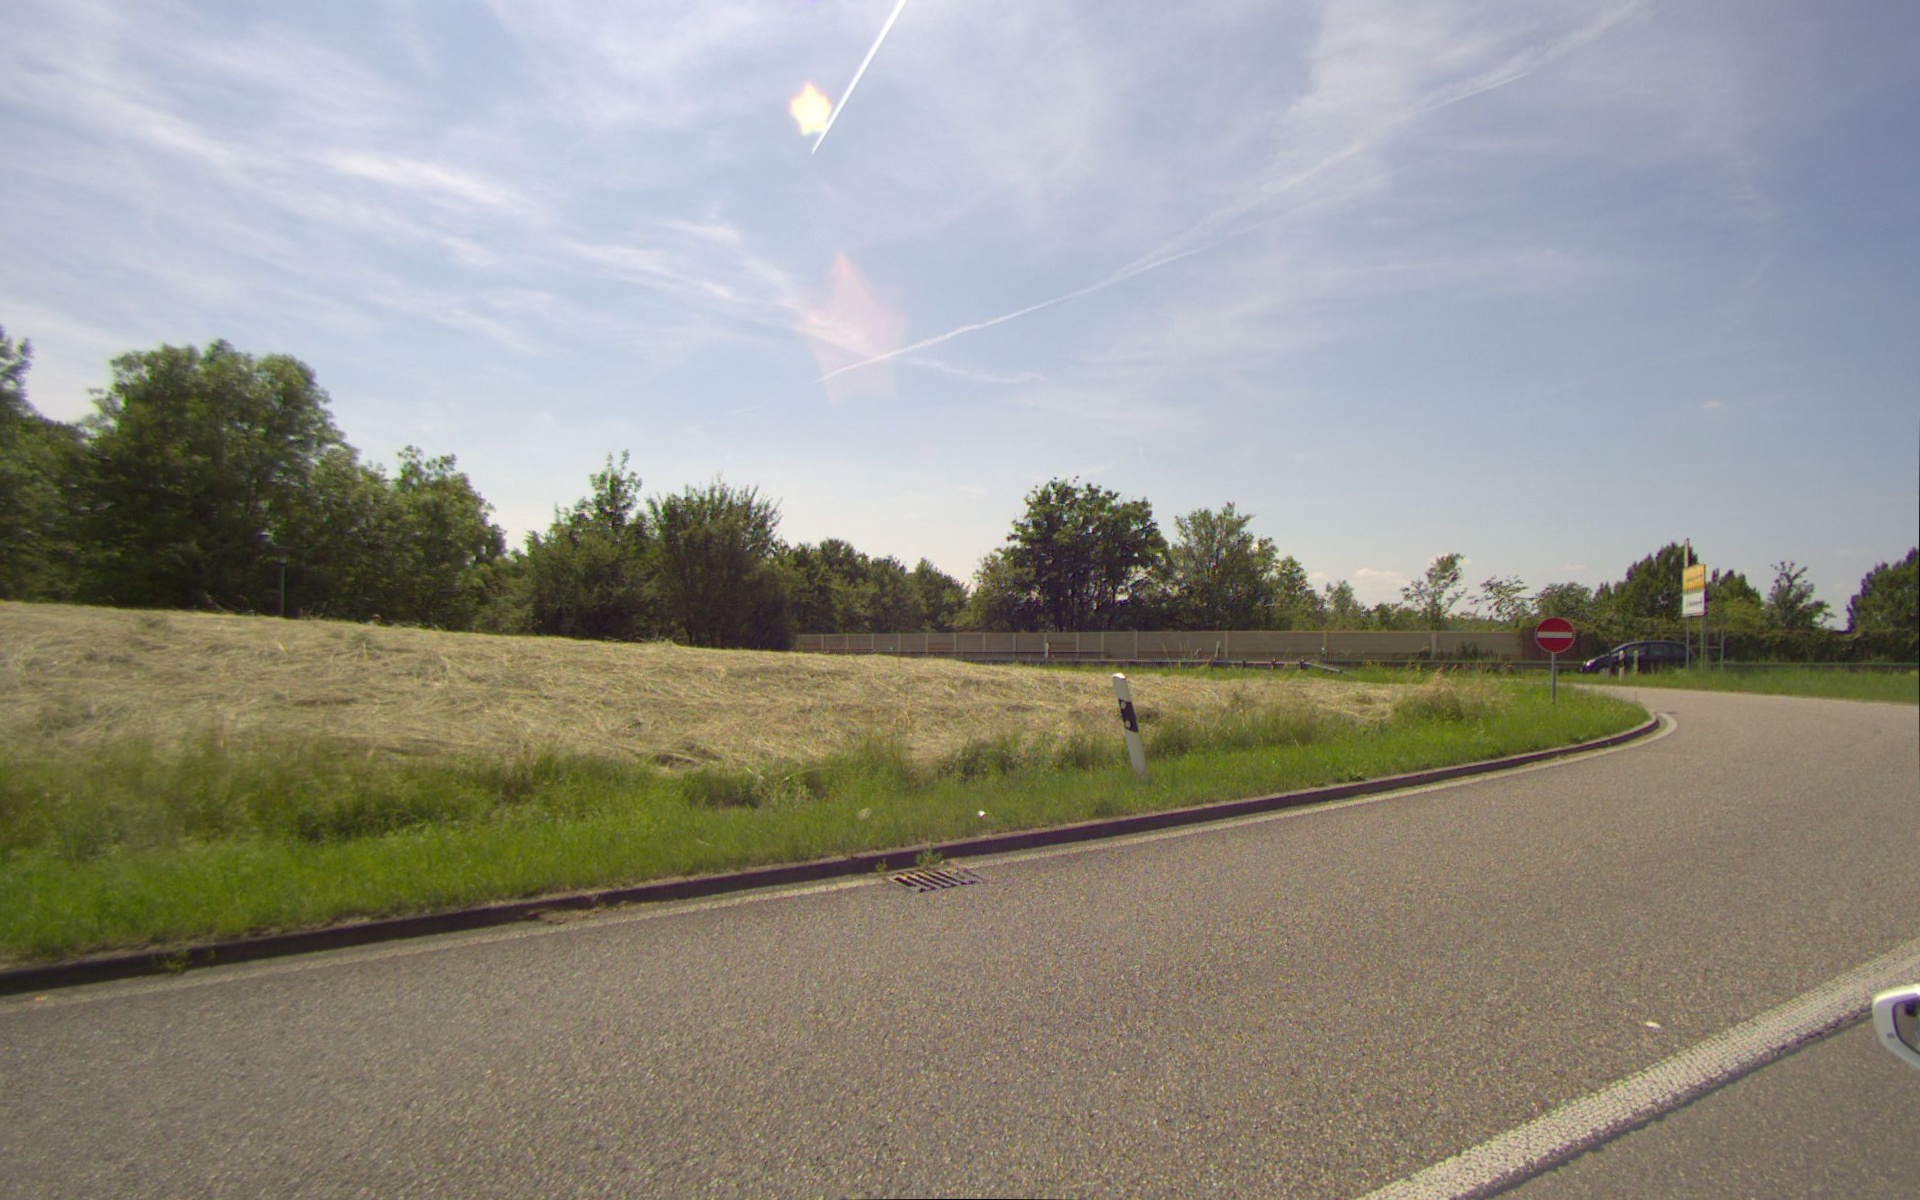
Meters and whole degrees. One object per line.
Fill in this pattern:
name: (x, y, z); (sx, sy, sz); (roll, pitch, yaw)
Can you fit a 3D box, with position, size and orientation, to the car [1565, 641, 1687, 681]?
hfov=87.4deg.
car: (27.480, 2.484, 41.593); (4.032, 1.559, 1.753); (-1, -2, 28)
